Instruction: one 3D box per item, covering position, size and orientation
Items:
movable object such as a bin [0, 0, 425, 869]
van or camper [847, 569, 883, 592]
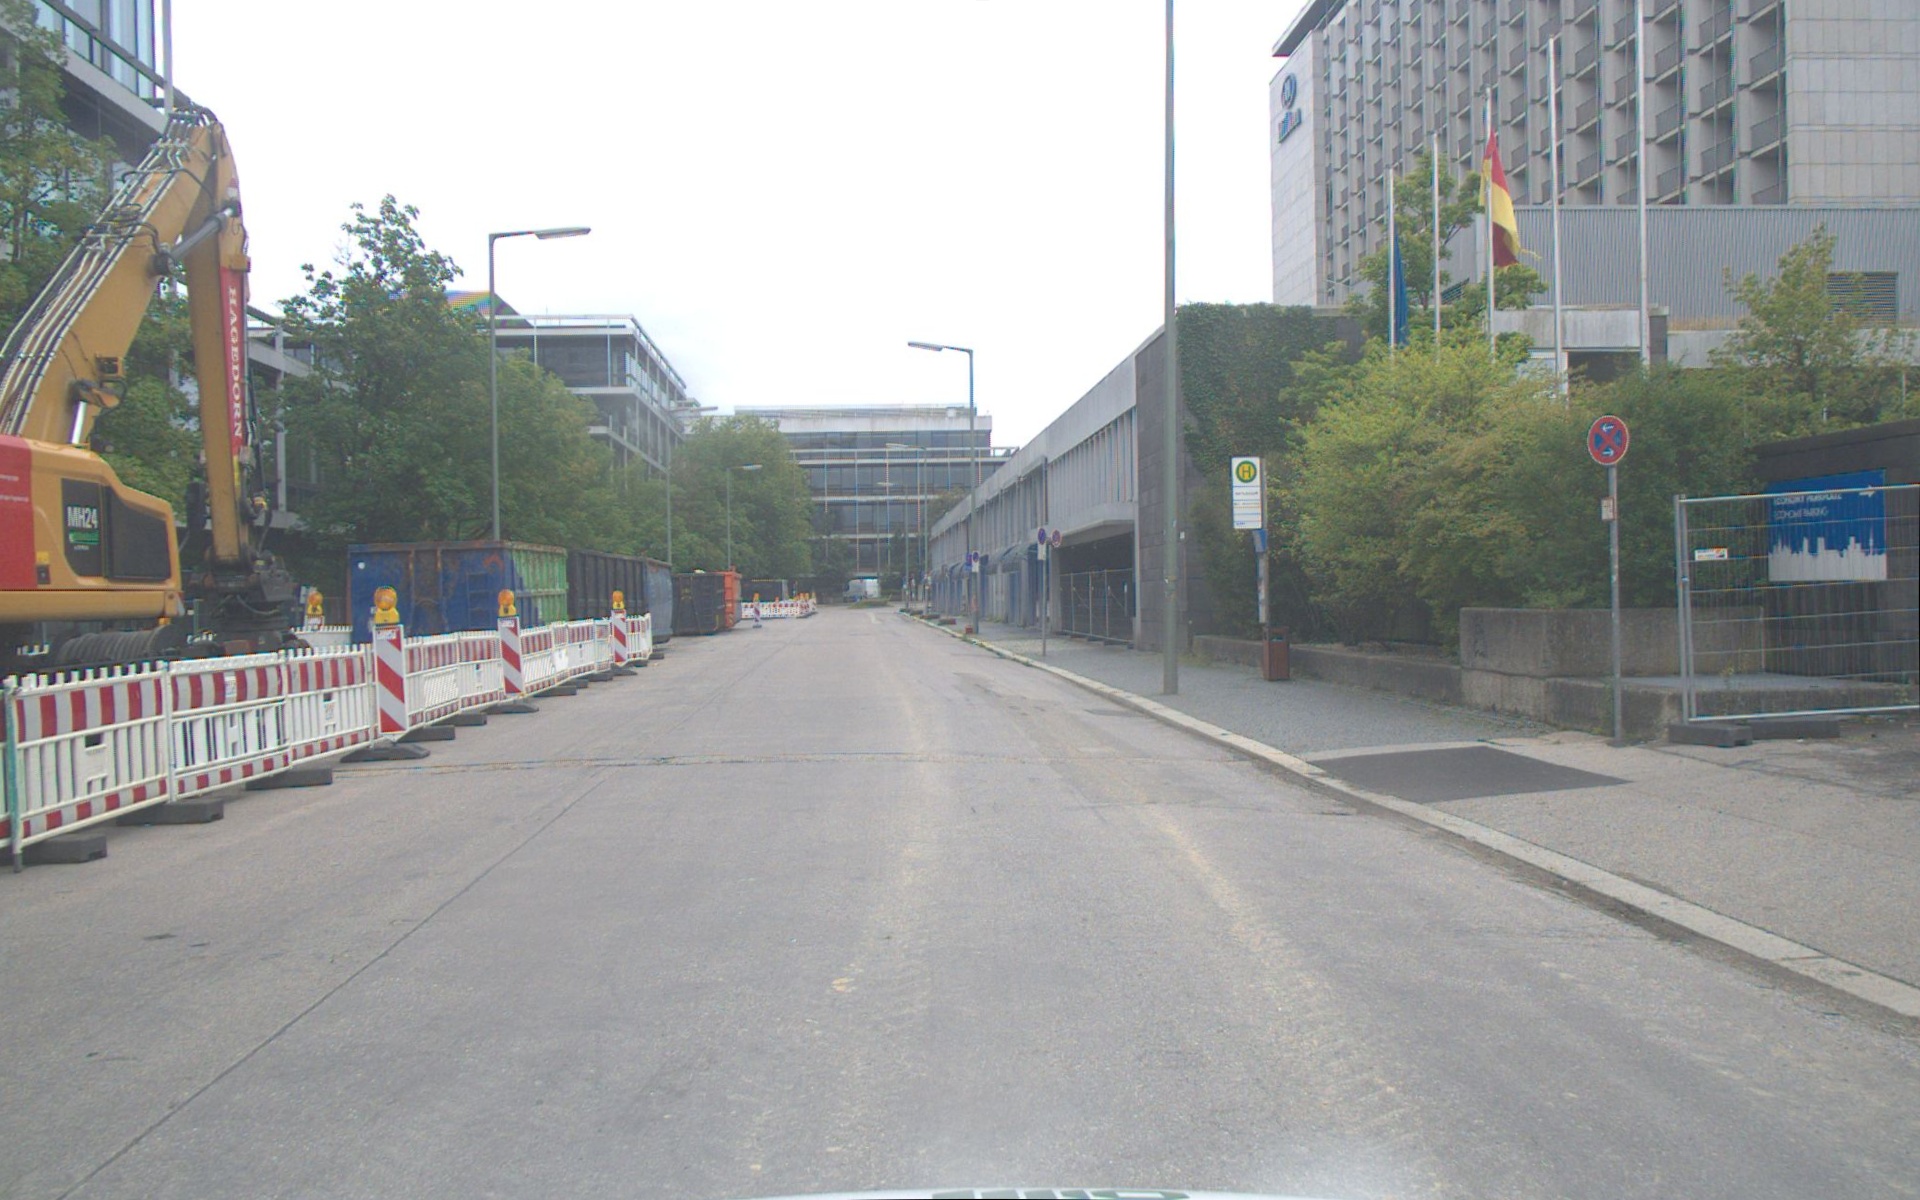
[{"bbox_3d":[-7.872,-1.648,14.973,2.847,6.678,11.774,-2,1,-4],"label":"movable object such as a bin"},{"bbox_3d":[-10.797,-2.171,188.202,2.063,2.535,5.018,-2,1,-29],"label":"van or camper"}]
